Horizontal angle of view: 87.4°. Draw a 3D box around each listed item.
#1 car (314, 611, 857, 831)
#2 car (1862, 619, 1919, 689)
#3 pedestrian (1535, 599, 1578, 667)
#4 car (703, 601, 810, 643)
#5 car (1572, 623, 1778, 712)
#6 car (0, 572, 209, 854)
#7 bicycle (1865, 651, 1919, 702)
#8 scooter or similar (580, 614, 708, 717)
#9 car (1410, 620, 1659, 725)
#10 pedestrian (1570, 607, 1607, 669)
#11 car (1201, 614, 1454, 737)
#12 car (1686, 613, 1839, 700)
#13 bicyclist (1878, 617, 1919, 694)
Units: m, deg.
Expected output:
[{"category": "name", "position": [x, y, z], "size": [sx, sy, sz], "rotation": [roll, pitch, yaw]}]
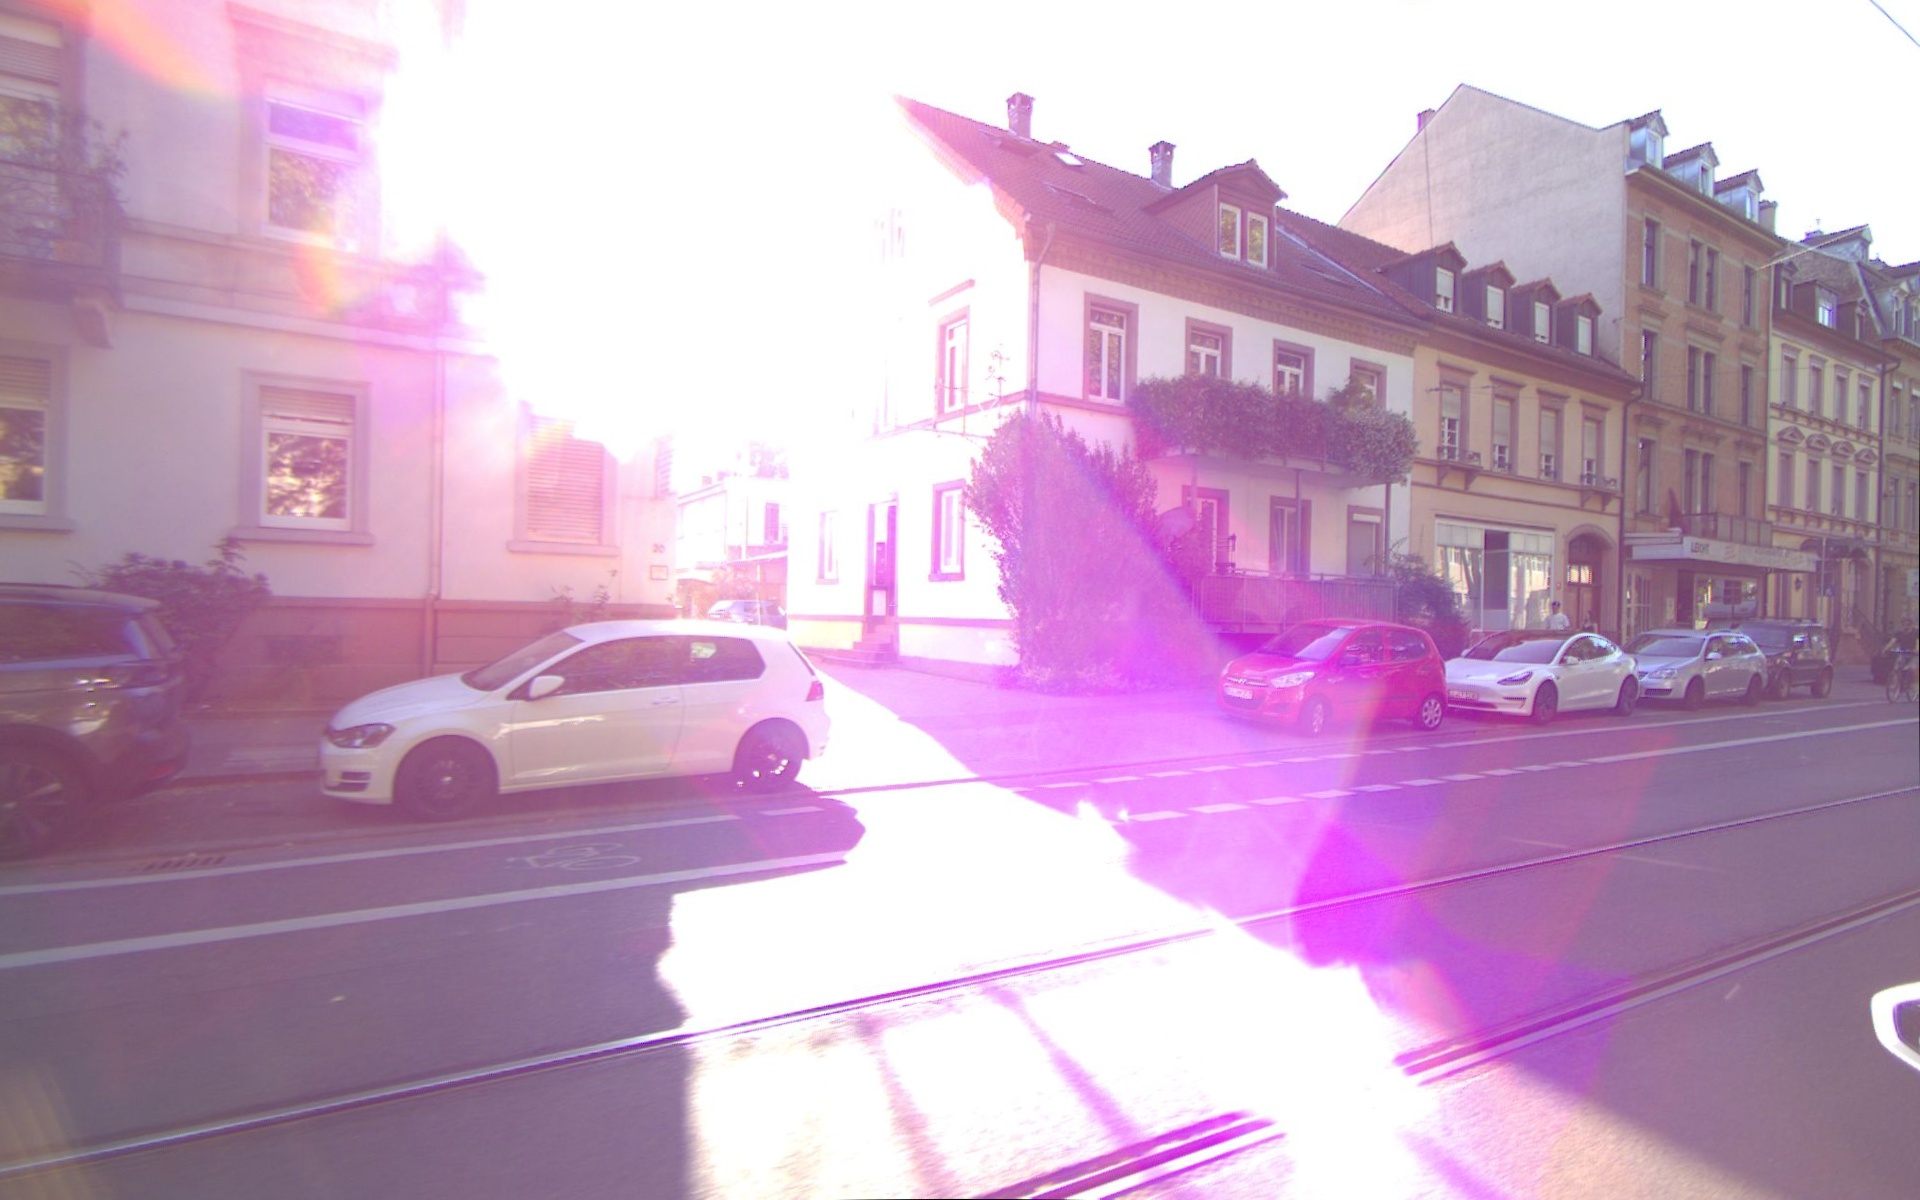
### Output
[{"category": "car", "position": [-3.187, 0.906, 8.919], "size": [4.210, 1.496, 1.677], "rotation": [1, 1, -32]}, {"category": "car", "position": [27.951, 1.538, 28.728], "size": [4.885, 1.805, 1.952], "rotation": [1, 2, -34]}, {"category": "pedestrian", "position": [15.072, 0.819, 25.380], "size": [0.763, 1.656, 0.653], "rotation": [3, 1, 43]}, {"category": "car", "position": [-7.403, 0.789, 36.676], "size": [1.600, 1.424, 3.563], "rotation": [1, 0, 42]}, {"category": "car", "position": [14.308, 1.280, 20.045], "size": [4.401, 1.523, 1.816], "rotation": [1, 1, -33]}, {"category": "car", "position": [-7.468, 0.662, 6.087], "size": [4.616, 1.726, 1.843], "rotation": [1, -1, -37]}, {"category": "bicycle", "position": [20.505, 1.659, 21.954], "size": [2.015, 1.061, 0.482], "rotation": [1, -2, -30]}, {"category": "scooter or similar", "position": [-4.127, 0.845, 13.140], "size": [1.552, 1.297, 0.445], "rotation": [1, 0, -23]}, {"category": "car", "position": [9.908, 1.156, 17.208], "size": [4.639, 1.523, 1.816], "rotation": [1, 1, -34]}, {"category": "pedestrian", "position": [15.530, 0.928, 24.820], "size": [0.628, 1.480, 0.653], "rotation": [3, 1, 43]}, {"category": "car", "position": [5.316, 1.022, 14.497], "size": [3.405, 1.583, 1.563], "rotation": [1, -1, -28]}, {"category": "car", "position": [17.986, 1.221, 22.471], "size": [3.645, 1.755, 1.547], "rotation": [1, 1, -33]}, {"category": "bicyclist", "position": [20.746, 1.206, 22.106], "size": [0.886, 1.656, 0.533], "rotation": [2, -2, -30]}]
